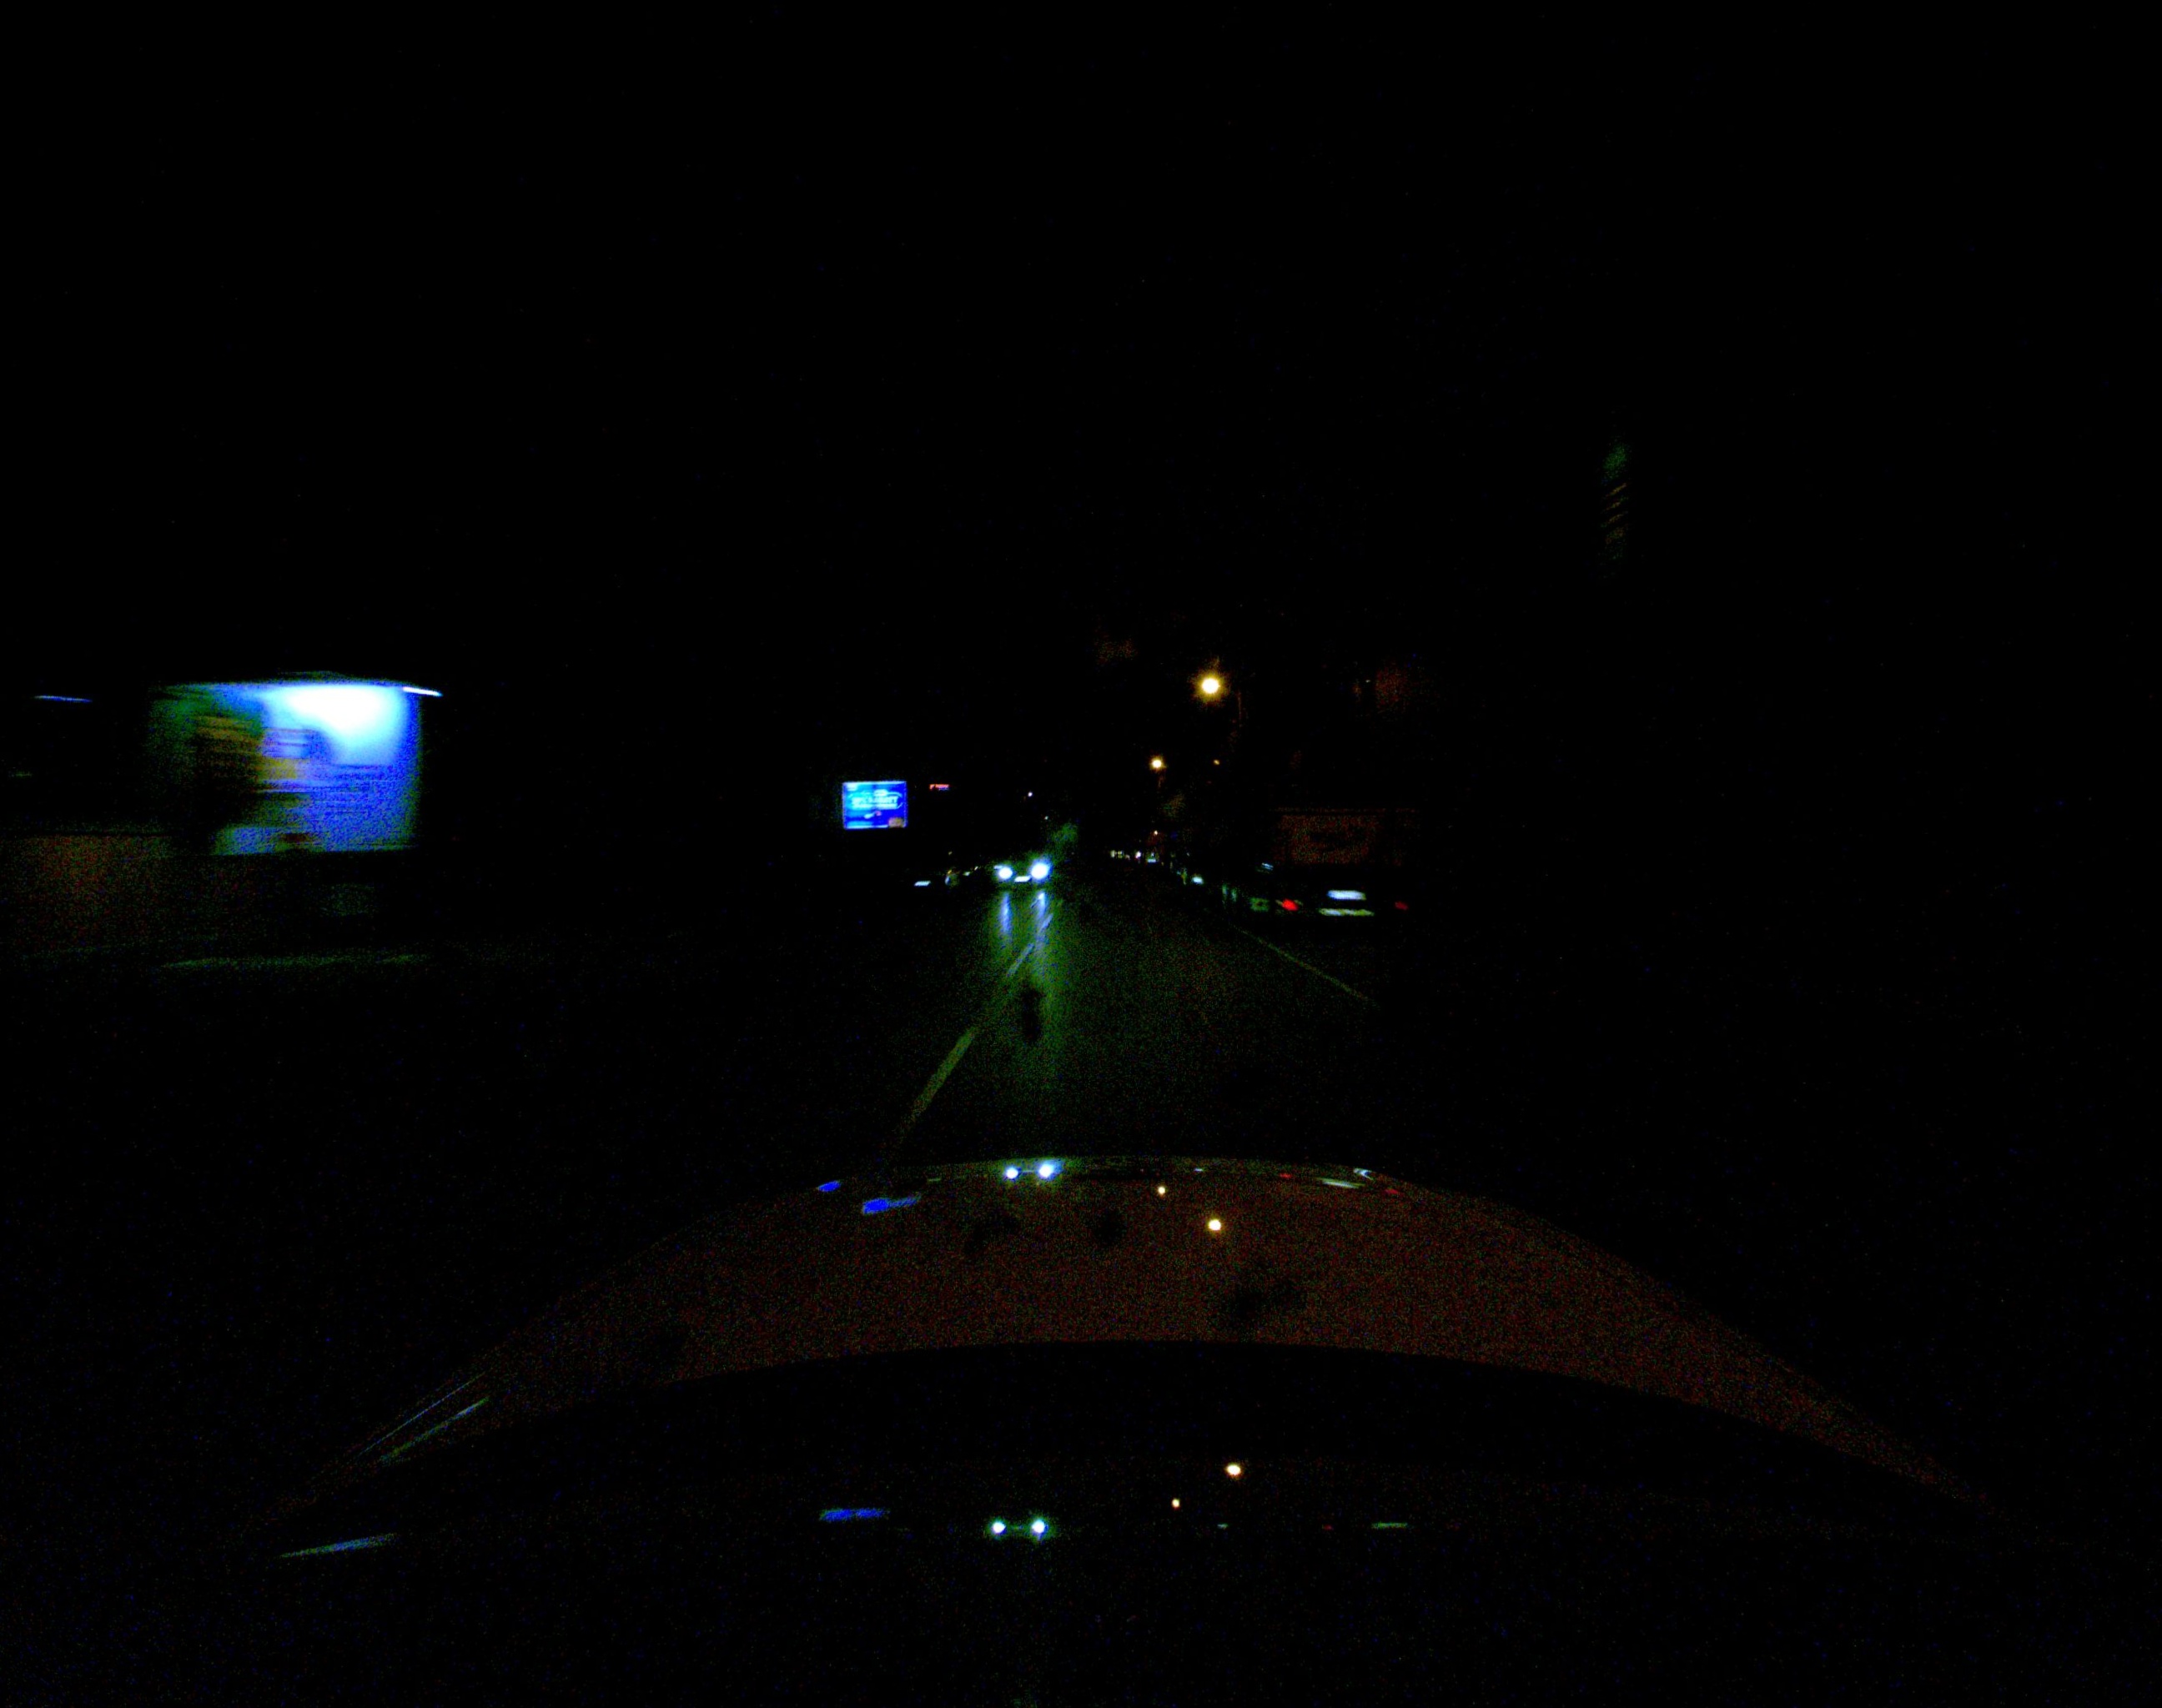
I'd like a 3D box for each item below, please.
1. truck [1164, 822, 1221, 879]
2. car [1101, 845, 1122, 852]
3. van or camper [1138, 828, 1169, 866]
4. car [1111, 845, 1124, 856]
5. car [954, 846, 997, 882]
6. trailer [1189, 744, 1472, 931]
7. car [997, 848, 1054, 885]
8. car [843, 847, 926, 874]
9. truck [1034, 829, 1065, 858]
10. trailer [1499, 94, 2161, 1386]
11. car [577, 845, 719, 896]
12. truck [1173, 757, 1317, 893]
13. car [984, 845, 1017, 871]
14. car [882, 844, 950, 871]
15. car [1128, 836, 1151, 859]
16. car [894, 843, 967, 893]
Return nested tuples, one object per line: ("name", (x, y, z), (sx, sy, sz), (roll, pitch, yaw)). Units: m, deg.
("truck", (5.003, -0.175, 37.305), (1.986, 2.407, 5.295), (-1, 1, 2))
("car", (6.553, -1.139, 174.379), (4.510, 1.379, 2.003), (-1, 0, 4))
("van or camper", (5.229, -0.507, 59.048), (1.986, 2.581, 4.918), (-1, 1, 2))
("car", (5.812, -0.553, 129.839), (1.986, 1.684, 4.002), (-1, 1, 2))
("car", (-5.547, 0.490, 43.104), (1.673, 1.736, 4.355), (-1, 1, 0))
("trailer", (4.577, -0.272, 17.991), (3.172, 2.749, 10.719), (-3, 0, 2))
("car", (-2.266, 0.500, 34.245), (1.986, 1.398, 4.002), (-1, 1, 2))
("car", (-11.751, 0.363, 48.647), (4.631, 1.485, 1.986), (-2, 1, -21))
("truck", (-4.345, -1.436, 109.199), (3.882, 3.621, 8.249), (-1, 1, -4))
("trailer", (4.249, -0.311, 1.665), (2.679, 3.464, 7.806), (-1, 0, -1))
("car", (-15.437, 0.560, 29.211), (3.976, 1.651, 1.999), (-1, 1, -2))
("truck", (4.762, -0.783, 25.133), (3.140, 3.463, 6.676), (-3, 0, 2))
("car", (-5.668, 0.239, 57.743), (1.891, 1.736, 4.355), (-1, 1, 0))
("car", (-10.952, 0.219, 54.066), (4.007, 1.594, 1.984), (-3, 0, -25))
("car", (5.662, -0.628, 79.451), (1.986, 2.145, 4.002), (-1, 1, 2))
("car", (-5.871, 0.489, 32.192), (1.986, 1.793, 4.002), (-1, 1, 2))
